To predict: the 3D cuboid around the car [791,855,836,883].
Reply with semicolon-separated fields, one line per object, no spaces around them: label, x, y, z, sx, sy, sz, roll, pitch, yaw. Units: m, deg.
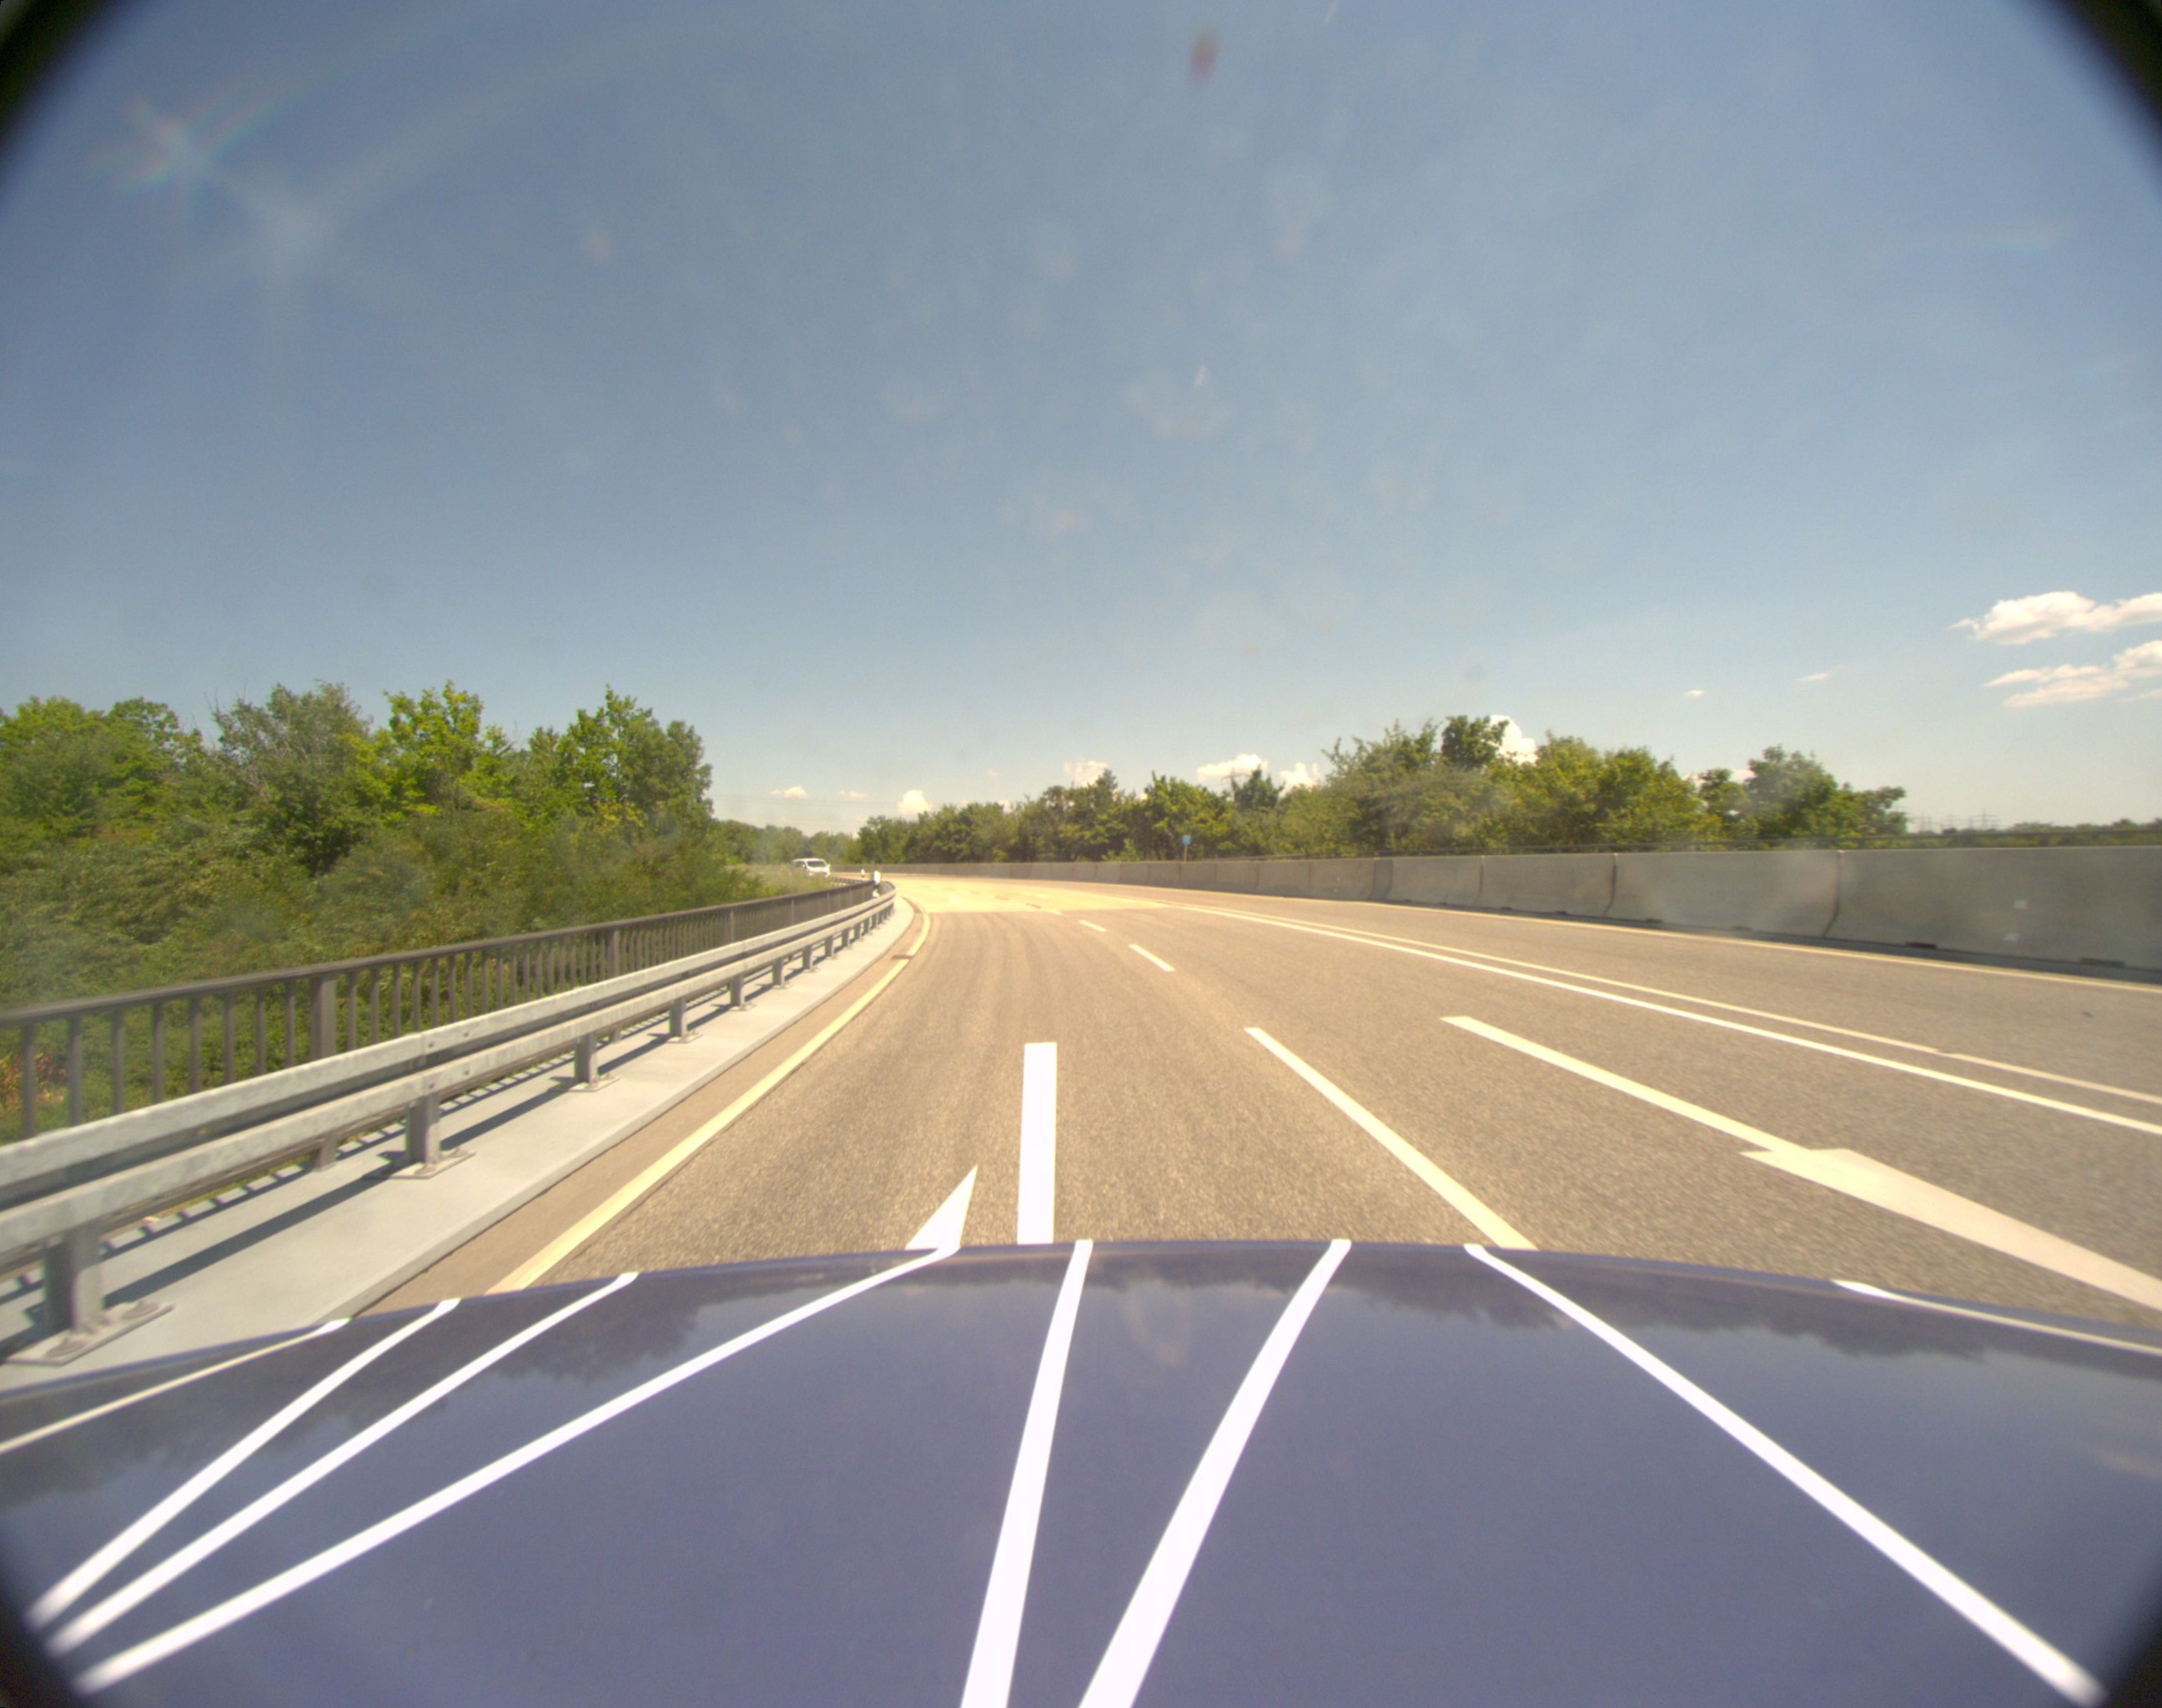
car;-22.723;1.185;64.407;2.035;2.073;5.855;-2;2;-36
